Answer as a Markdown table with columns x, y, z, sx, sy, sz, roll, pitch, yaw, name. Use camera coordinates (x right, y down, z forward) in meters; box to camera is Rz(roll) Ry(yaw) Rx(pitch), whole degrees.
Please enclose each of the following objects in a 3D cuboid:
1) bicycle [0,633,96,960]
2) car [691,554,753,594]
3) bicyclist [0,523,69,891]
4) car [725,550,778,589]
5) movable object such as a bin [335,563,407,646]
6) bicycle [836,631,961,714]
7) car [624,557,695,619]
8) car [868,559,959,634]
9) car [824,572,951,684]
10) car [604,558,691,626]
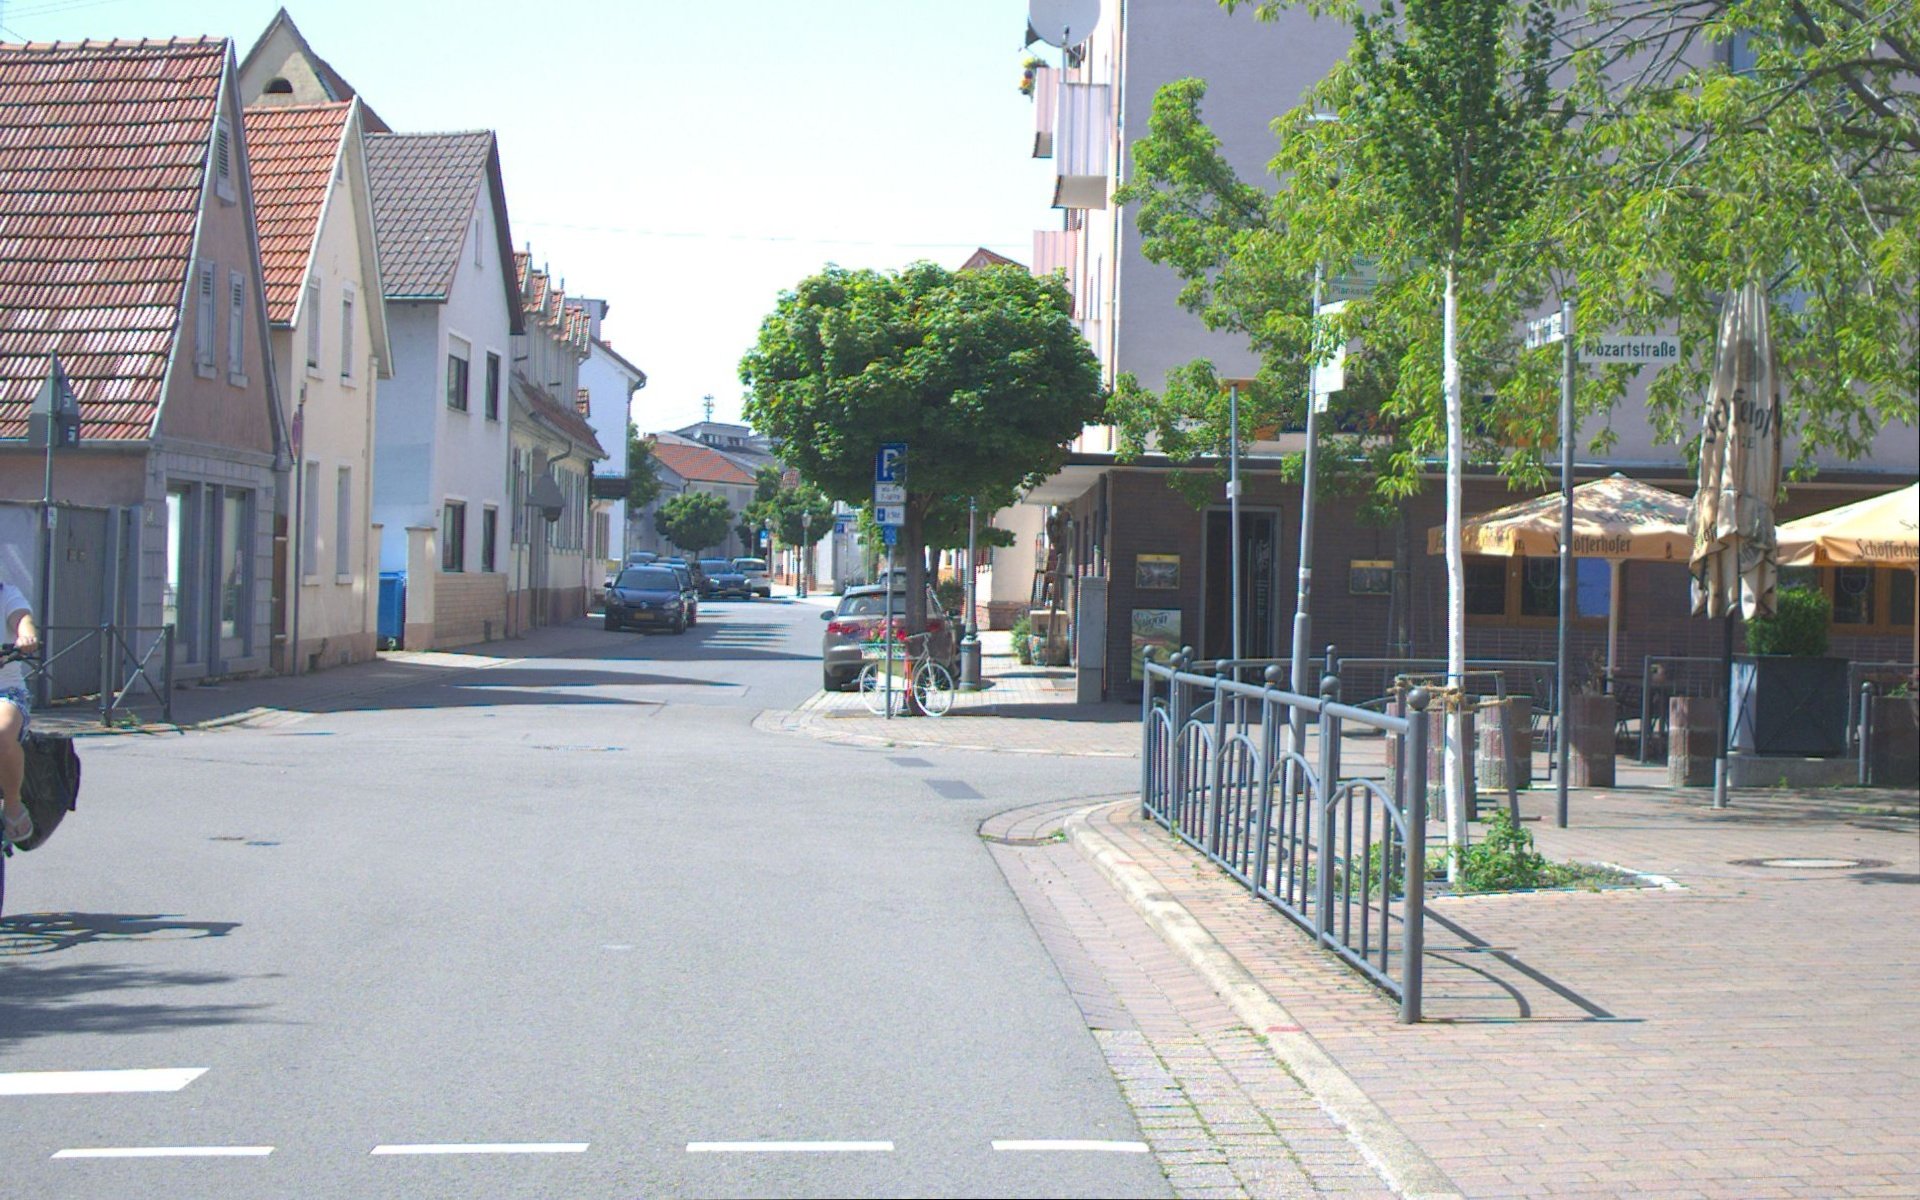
| x | y | z | sx | sy | sz | roll | pitch | yaw | name |
| --- | --- | --- | --- | --- | --- | --- | --- | --- | --- |
| -4.194 | 0.791 | 14.489 | 0.708 | 1.248 | 1.972 | -1 | 1 | -4 | bicycle |
| -9.291 | -1.002 | 133.975 | 1.908 | 1.476 | 4.845 | 1 | 0 | -10 | car |
| -4.195 | 0.434 | 14.456 | 0.714 | 1.501 | 0.871 | 0 | 0 | -4 | bicyclist |
| -8.840 | -1.308 | 145.315 | 2.026 | 1.592 | 4.510 | 1 | 1 | -6 | car |
| -9.730 | 0.072 | 56.773 | 1.102 | 1.361 | 0.390 | 1 | 0 | 3 | movable object such as a bin |
| -0.695 | 0.804 | 38.575 | 1.412 | 0.894 | 0.464 | 0 | 1 | 36 | bicycle |
| -7.390 | -0.304 | 84.747 | 1.663 | 1.471 | 3.451 | 1 | 1 | -4 | car |
| -1.086 | -0.107 | 81.060 | 2.043 | 1.683 | 4.842 | 1 | 1 | -1 | car |
| -0.960 | 0.361 | 47.193 | 1.576 | 1.449 | 3.486 | 1 | 0 | 1 | car |
| -7.084 | -0.203 | 78.193 | 1.663 | 1.471 | 4.135 | 1 | 1 | -1 | car |
